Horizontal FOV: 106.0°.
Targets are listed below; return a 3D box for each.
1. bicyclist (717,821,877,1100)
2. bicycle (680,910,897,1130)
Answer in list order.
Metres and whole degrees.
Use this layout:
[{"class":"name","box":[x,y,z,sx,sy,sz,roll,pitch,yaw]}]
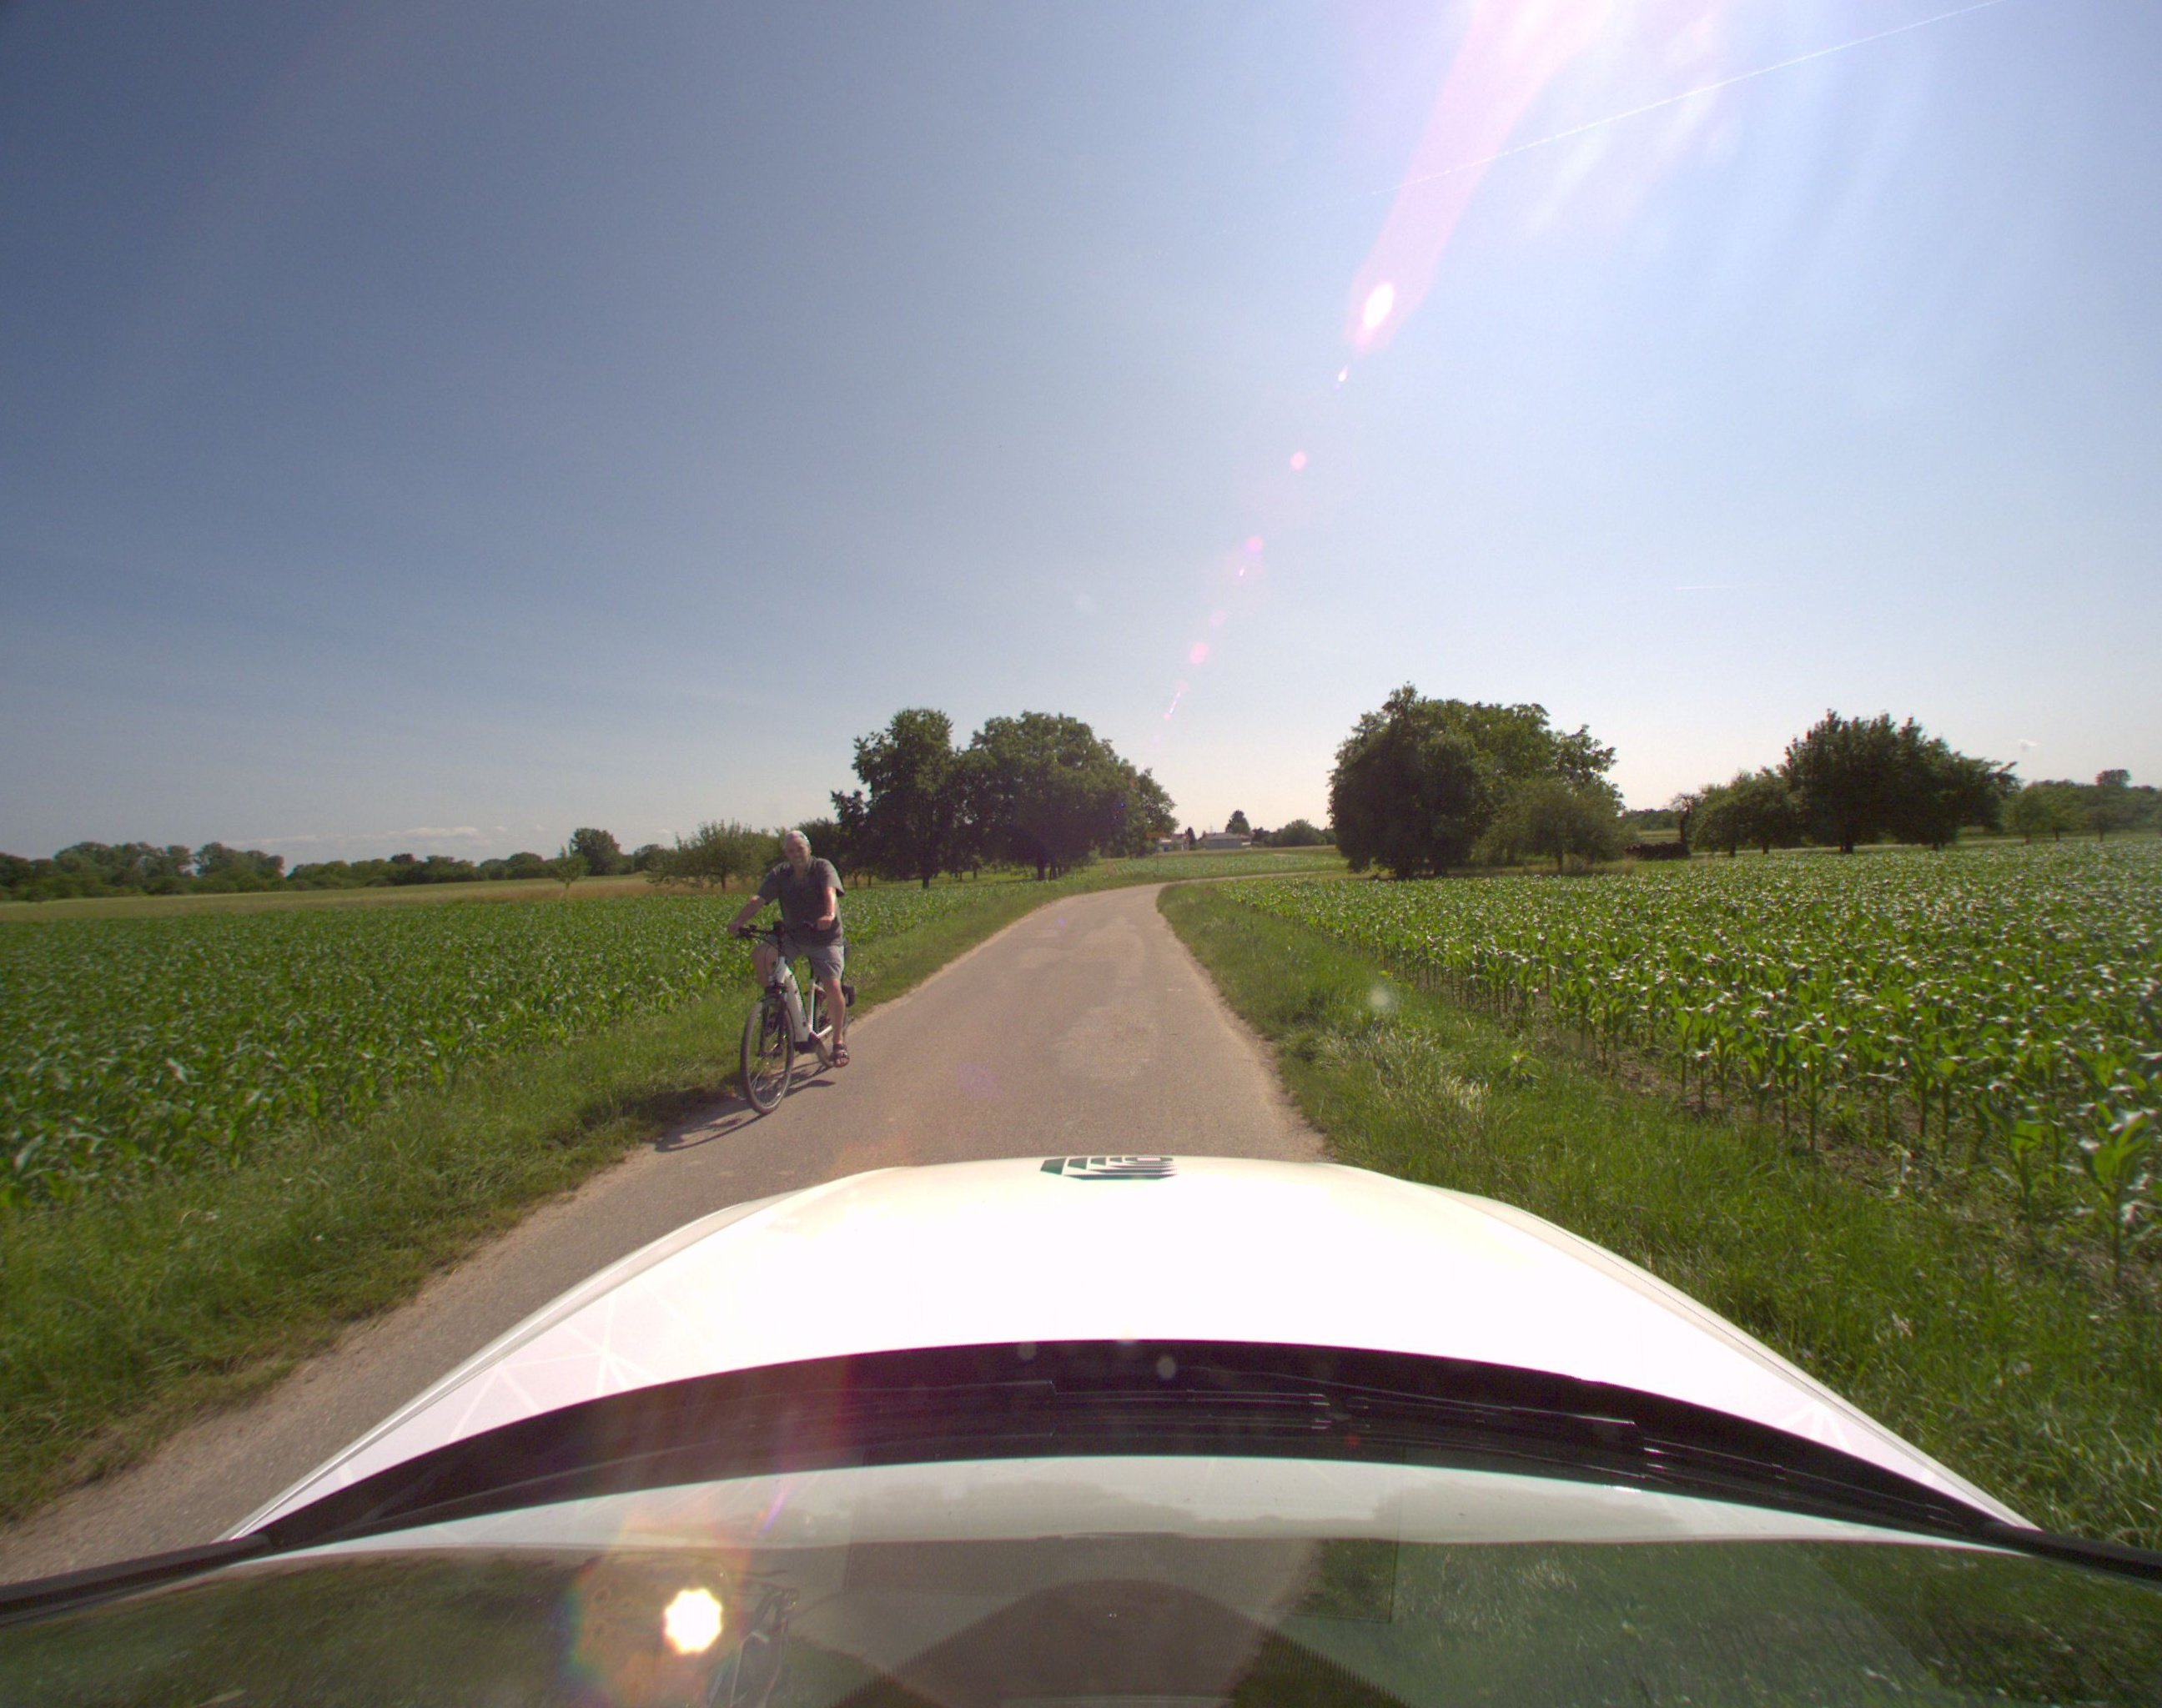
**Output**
[{"class":"bicyclist","box":[-1.969,0.704,5.747,0.748,1.791,0.717,-4,-1,0]},{"class":"bicycle","box":[-1.949,1.047,5.778,0.748,1.127,1.908,-4,0,1]}]
